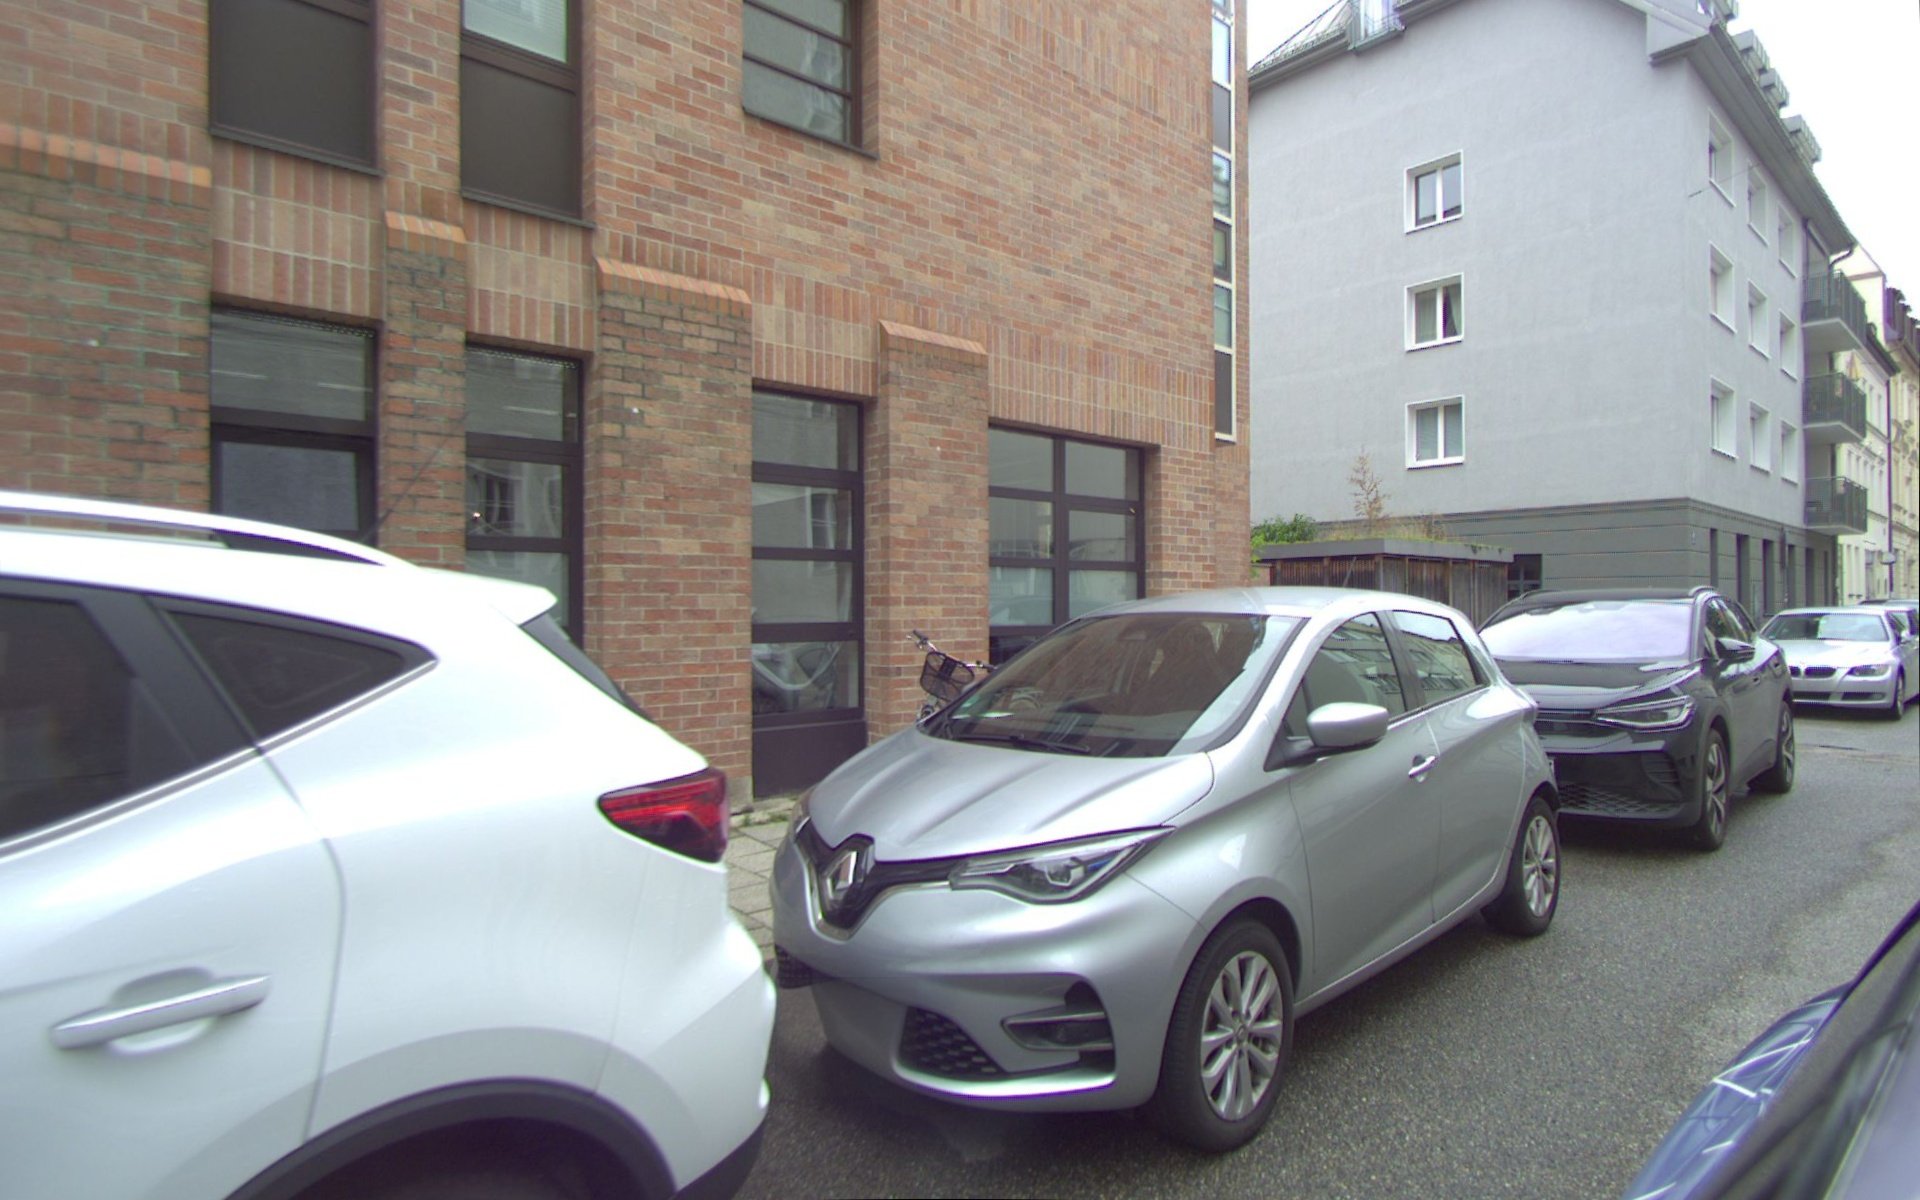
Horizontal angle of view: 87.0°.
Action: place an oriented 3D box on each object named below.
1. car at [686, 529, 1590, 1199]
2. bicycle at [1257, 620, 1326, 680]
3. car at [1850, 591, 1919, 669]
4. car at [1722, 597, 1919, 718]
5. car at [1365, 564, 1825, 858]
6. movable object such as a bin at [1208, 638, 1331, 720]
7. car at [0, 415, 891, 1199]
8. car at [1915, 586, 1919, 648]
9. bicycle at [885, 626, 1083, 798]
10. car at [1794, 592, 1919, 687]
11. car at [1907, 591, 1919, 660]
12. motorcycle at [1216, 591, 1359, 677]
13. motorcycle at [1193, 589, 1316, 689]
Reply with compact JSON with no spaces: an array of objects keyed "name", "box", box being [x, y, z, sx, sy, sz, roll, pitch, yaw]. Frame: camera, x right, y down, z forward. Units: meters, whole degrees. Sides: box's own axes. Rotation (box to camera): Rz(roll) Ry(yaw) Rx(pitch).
[{"name":"car","box":[1.040,0.643,4.099,3.818,1.656,1.722,-1,1,-44]},{"name":"bicycle","box":[5.227,0.774,15.918,1.296,0.870,0.375,-1,1,-38]},{"name":"car","box":[19.672,0.581,20.952,3.147,1.531,1.523,0,-1,-42]},{"name":"car","box":[12.364,0.684,14.211,4.522,1.435,1.838,0,-1,-42]},{"name":"car","box":[4.948,0.598,7.608,4.318,1.575,1.887,0,-1,-43]},{"name":"movable object such as a bin","box":[3.573,0.884,11.726,0.828,0.842,1.089,0,0,-39]},{"name":"car","box":[-2.220,0.623,1.187,4.126,1.651,1.750,0,0,-43]},{"name":"car","box":[26.930,0.445,26.974,4.243,1.590,1.878,0,1,-43]},{"name":"bicycle","box":[0.199,0.758,7.382,1.446,1.093,0.560,0,-1,-41]},{"name":"car","box":[16.021,0.619,17.601,4.079,1.480,1.747,0,-1,-42]},{"name":"car","box":[23.672,0.564,23.698,4.219,1.548,1.842,0,-1,-42]},{"name":"motorcycle","box":[5.550,0.539,17.358,0.540,1.360,2.523,0,1,-35]},{"name":"motorcycle","box":[4.288,0.527,14.664,1.901,1.361,0.542,-1,1,-30]}]
